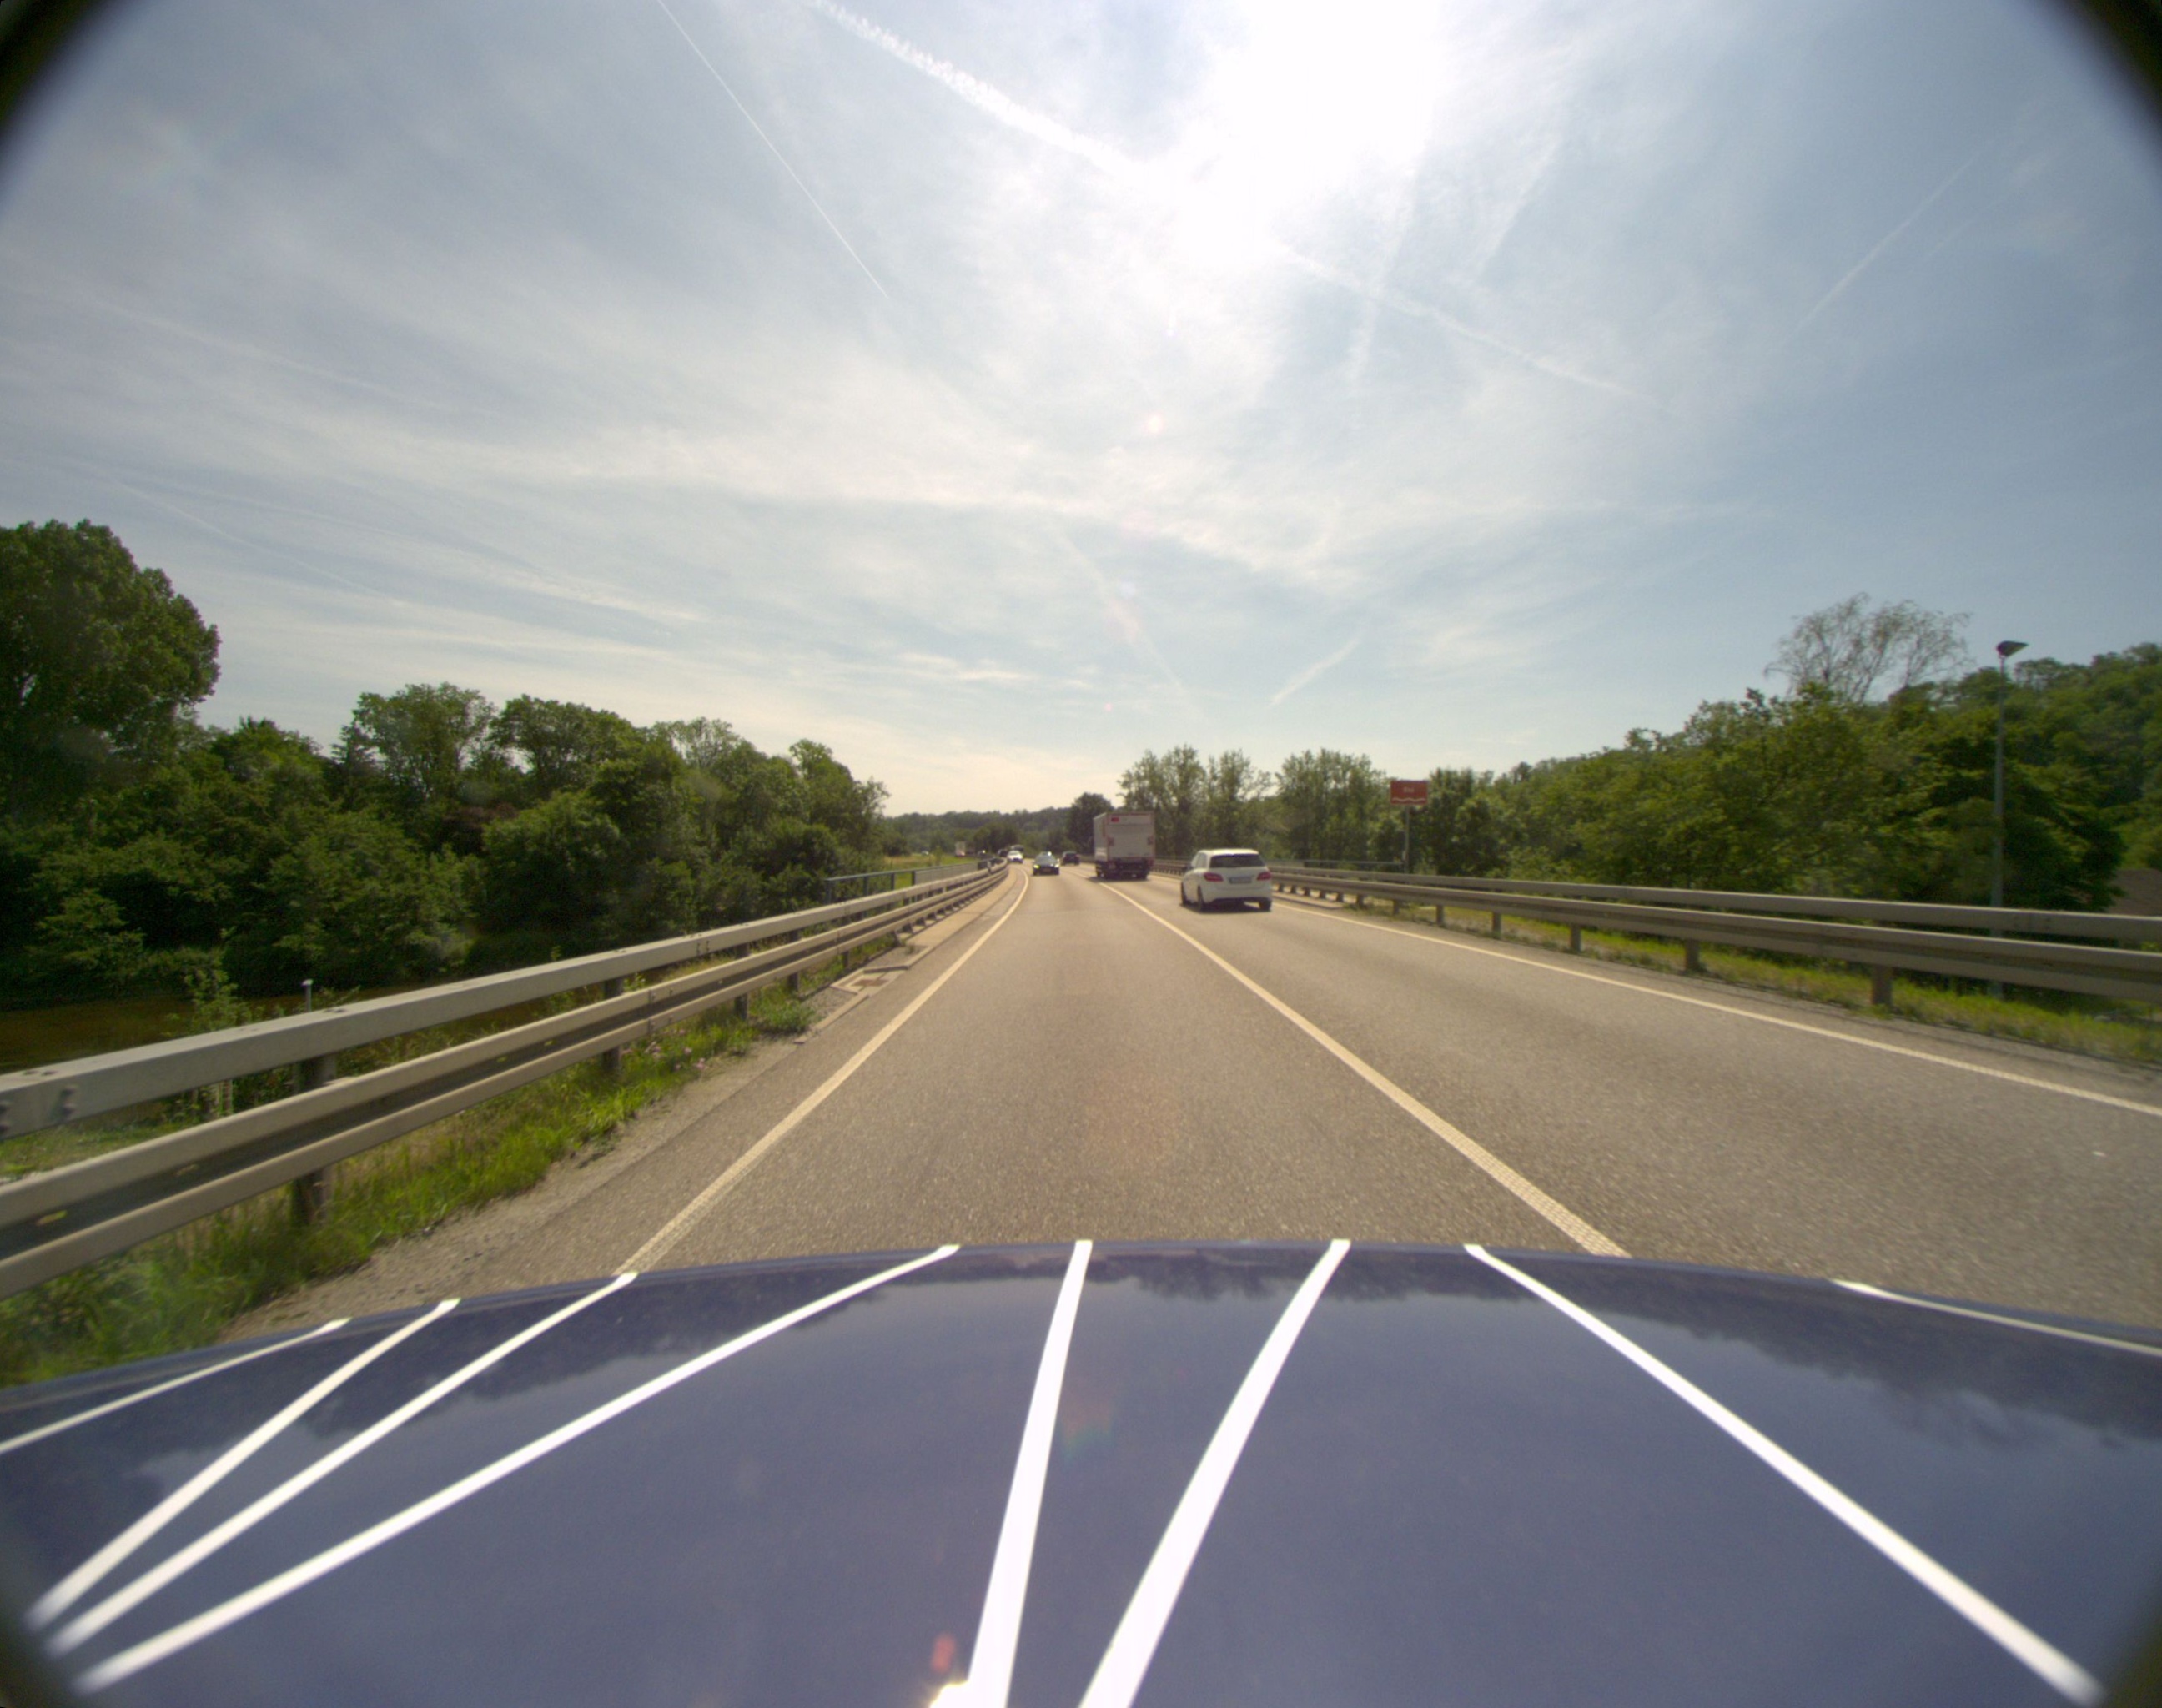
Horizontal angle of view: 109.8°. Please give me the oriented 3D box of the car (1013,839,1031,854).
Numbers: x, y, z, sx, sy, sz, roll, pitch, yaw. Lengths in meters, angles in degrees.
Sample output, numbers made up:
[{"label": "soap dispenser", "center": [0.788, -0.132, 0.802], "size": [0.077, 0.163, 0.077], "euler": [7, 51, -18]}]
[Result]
[{"label": "car", "center": [-10.682, -1.319, 137.093], "size": [2.187, 2.545, 5.788], "euler": [-2, 2, -15]}]

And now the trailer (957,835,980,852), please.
[{"label": "trailer", "center": [-30.300, -2.847, 204.149], "size": [2.865, 4.163, 14.472], "euler": [-2, 0, -21]}]

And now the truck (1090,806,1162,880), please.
[{"label": "truck", "center": [2.407, -0.564, 44.274], "size": [2.923, 3.781, 9.704], "euler": [-2, 0, -3]}]

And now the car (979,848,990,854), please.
[{"label": "car", "center": [-23.390, -0.742, 183.740], "size": [1.668, 1.449, 3.887], "euler": [1, 0, -20]}]

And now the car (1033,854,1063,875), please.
[{"label": "car", "center": [-2.351, 0.706, 53.717], "size": [1.981, 1.333, 3.998], "euler": [-2, 1, -3]}]

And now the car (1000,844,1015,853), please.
[{"label": "car", "center": [-15.130, -1.109, 155.615], "size": [1.860, 1.788, 4.968], "euler": [-2, 2, -18]}]

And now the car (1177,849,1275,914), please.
[{"label": "car", "center": [3.719, 0.662, 20.146], "size": [1.762, 1.503, 4.000], "euler": [-2, 0, 0]}]

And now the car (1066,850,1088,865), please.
[{"label": "car", "center": [-0.445, 0.358, 79.523], "size": [1.726, 1.474, 4.566], "euler": [-2, 1, -6]}]

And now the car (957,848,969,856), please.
[{"label": "car", "center": [-29.417, -0.495, 188.994], "size": [1.984, 1.722, 3.993], "euler": [-1, -1, -21]}]

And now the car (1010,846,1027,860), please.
[{"label": "car", "center": [-8.370, -0.152, 101.828], "size": [1.982, 1.779, 3.996], "euler": [-2, 2, -8]}]
